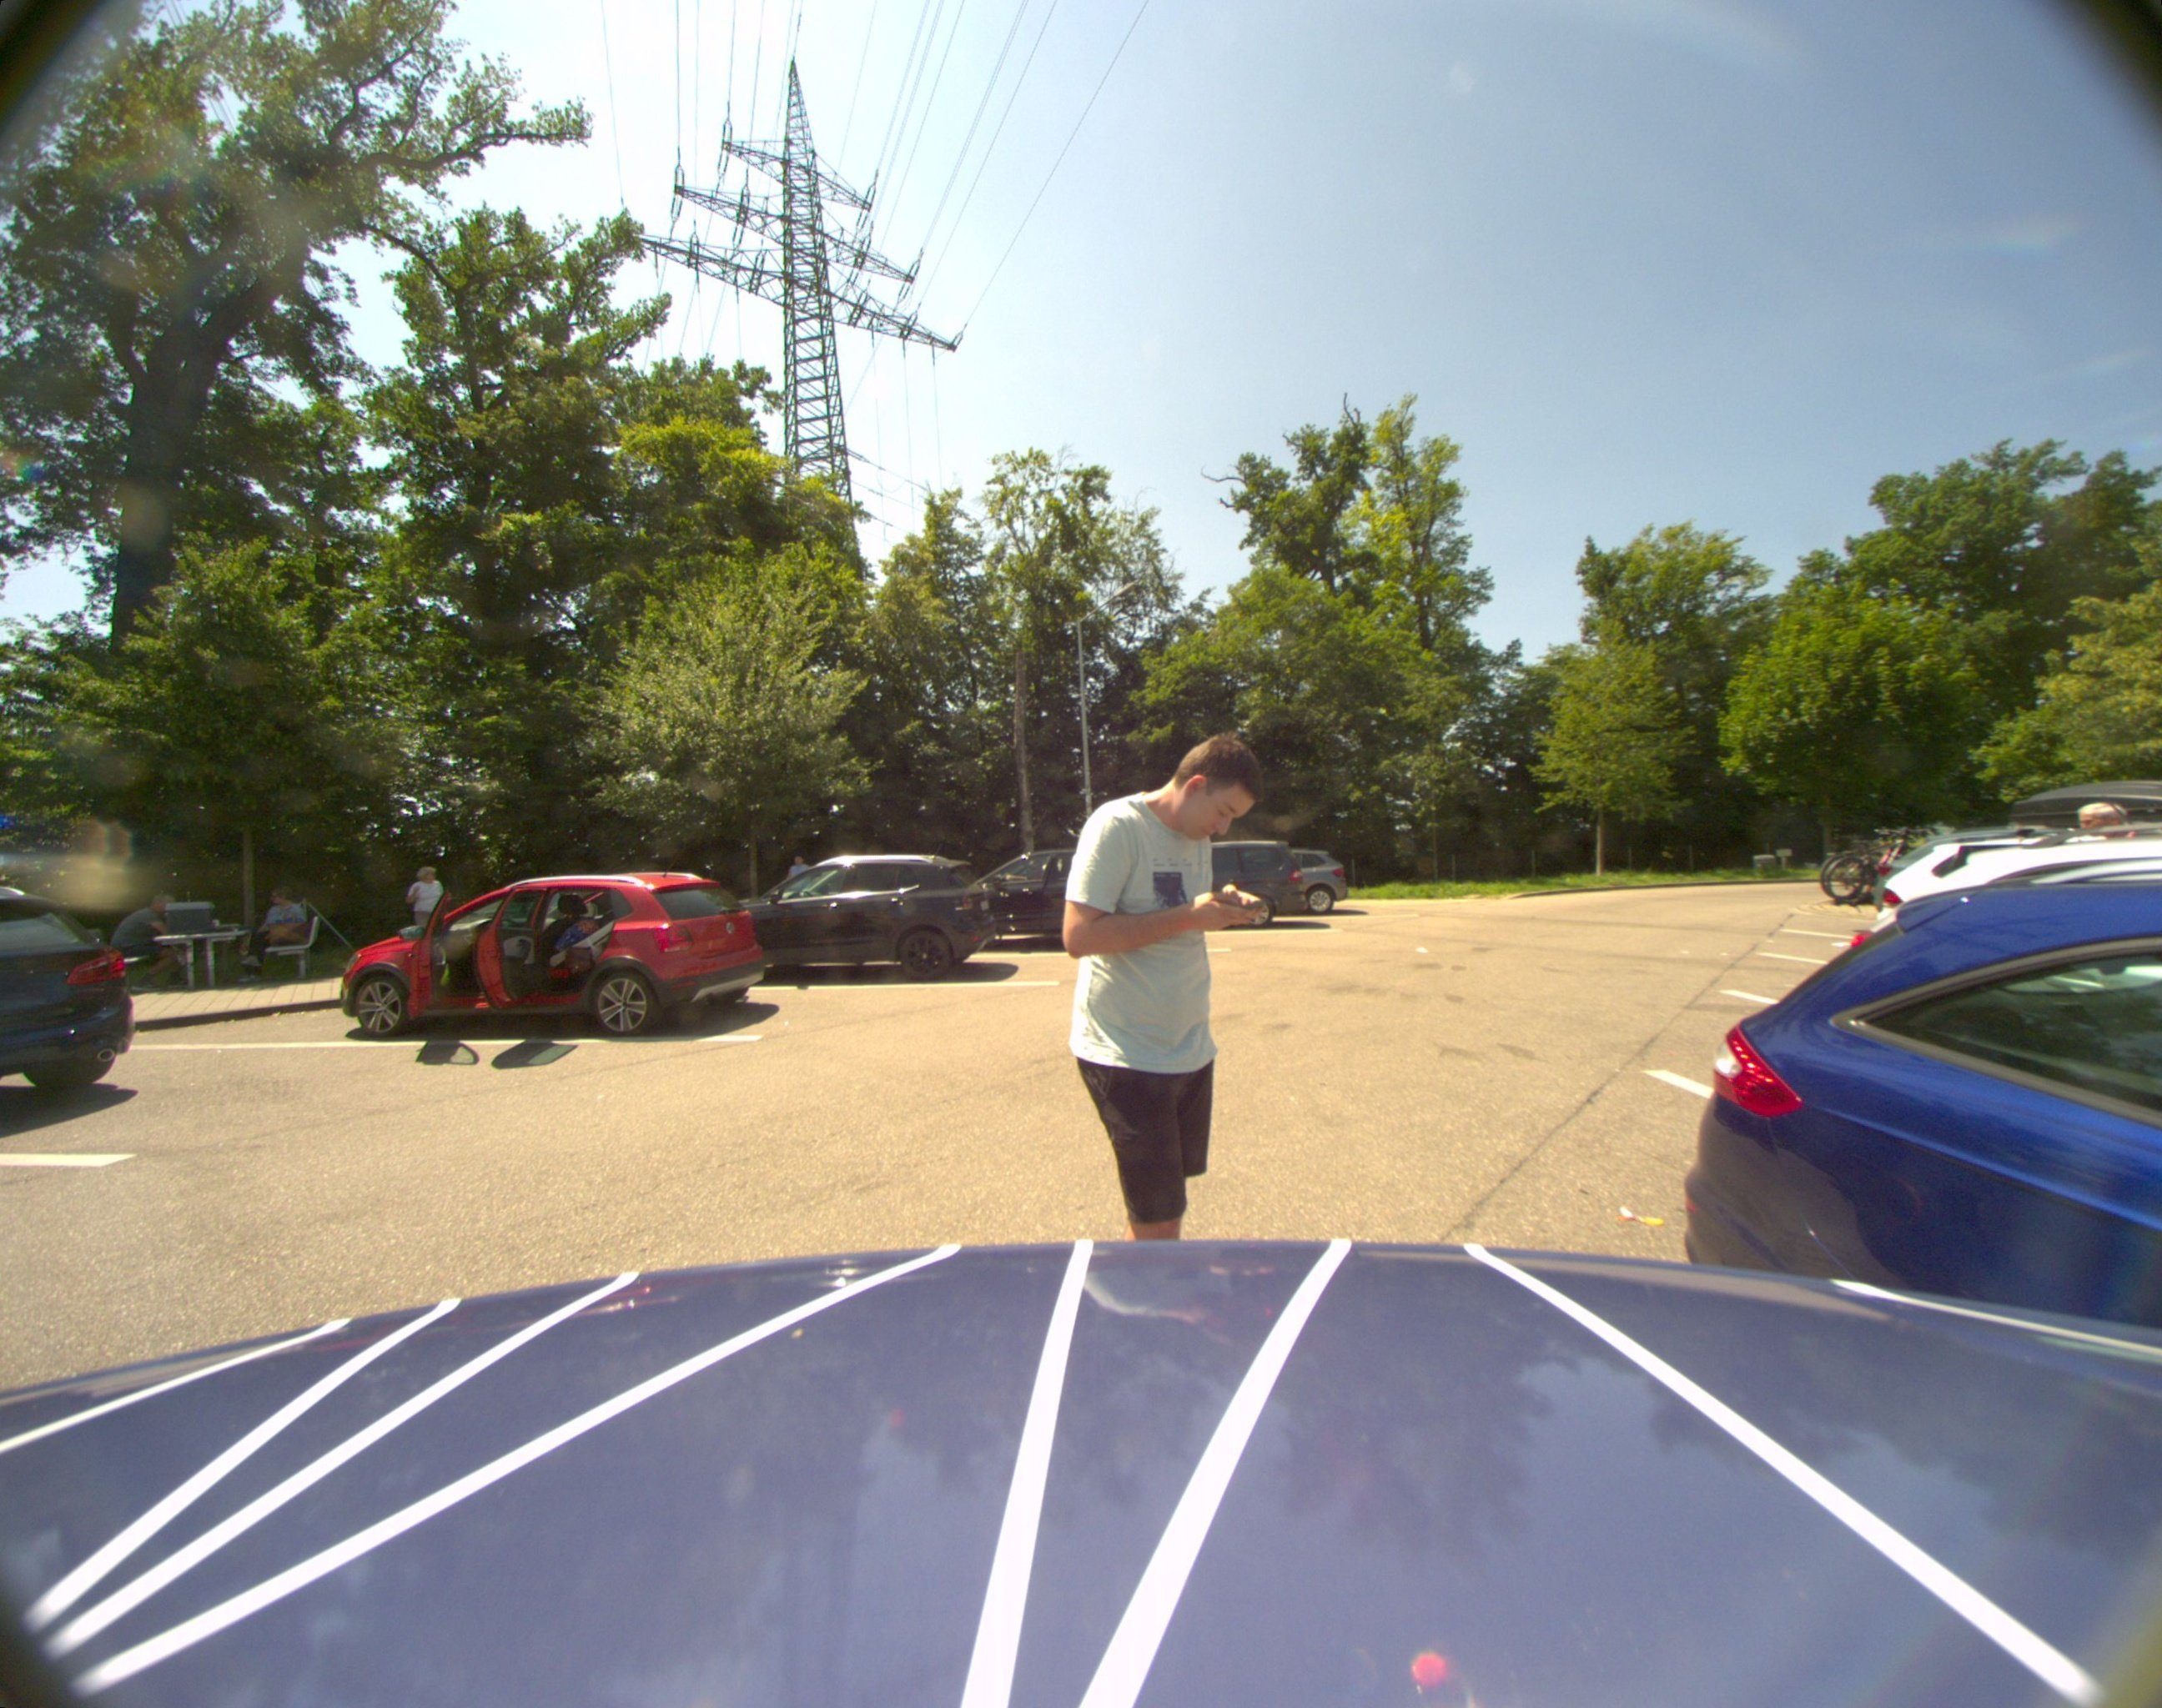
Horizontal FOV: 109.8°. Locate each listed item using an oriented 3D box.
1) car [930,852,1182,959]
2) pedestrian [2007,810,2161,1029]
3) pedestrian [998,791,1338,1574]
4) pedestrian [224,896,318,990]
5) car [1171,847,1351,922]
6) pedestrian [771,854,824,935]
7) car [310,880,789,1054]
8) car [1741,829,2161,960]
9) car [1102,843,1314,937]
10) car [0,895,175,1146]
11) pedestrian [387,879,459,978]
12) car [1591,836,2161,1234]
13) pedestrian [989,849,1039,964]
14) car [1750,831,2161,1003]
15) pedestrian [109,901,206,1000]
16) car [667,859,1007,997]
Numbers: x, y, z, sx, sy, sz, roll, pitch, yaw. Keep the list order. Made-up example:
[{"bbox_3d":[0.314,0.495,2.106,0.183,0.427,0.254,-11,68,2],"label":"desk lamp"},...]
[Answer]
[{"bbox_3d":[-0.326,0.840,12.950,3.964,1.582,1.781,-2,0,8],"label":"car"},{"bbox_3d":[8.062,0.477,5.937,0.672,1.592,0.759,-2,0,1],"label":"pedestrian"},{"bbox_3d":[0.195,0.727,1.960,0.687,1.699,0.578,-2,0,1],"label":"pedestrian"},{"bbox_3d":[-11.820,1.276,11.097,0.828,1.287,0.672,-2,0,24],"label":"pedestrian"},{"bbox_3d":[4.180,0.714,18.194,3.964,1.577,1.781,-2,0,7],"label":"car"},{"bbox_3d":[-5.776,0.817,15.510,0.715,1.584,0.809,-2,0,-1],"label":"pedestrian"},{"bbox_3d":[-5.192,1.072,7.712,3.704,1.448,1.781,-2,0,7],"label":"car"},{"bbox_3d":[12.366,0.478,10.933,1.779,1.456,4.470,-2,-1,0],"label":"car"},{"bbox_3d":[2.510,0.697,15.442,3.964,1.678,1.781,-2,0,7],"label":"car"},{"bbox_3d":[-8.918,1.156,4.995,4.011,1.558,1.846,-2,0,6],"label":"car"},{"bbox_3d":[-11.155,1.232,12.906,0.777,1.584,0.808,-2,0,-34],"label":"pedestrian"},{"bbox_3d":[4.864,0.658,3.630,1.779,1.456,4.470,-2,-1,0],"label":"car"},{"bbox_3d":[-1.055,0.810,12.019,0.660,1.745,0.636,-2,0,1],"label":"pedestrian"},{"bbox_3d":[10.064,0.534,8.149,1.779,1.456,4.470,-2,-1,0],"label":"car"},{"bbox_3d":[-12.684,1.302,10.445,0.652,1.262,0.672,-2,0,24],"label":"pedestrian"},{"bbox_3d":[-3.145,0.938,10.372,3.966,1.582,1.841,-2,0,3],"label":"car"}]
